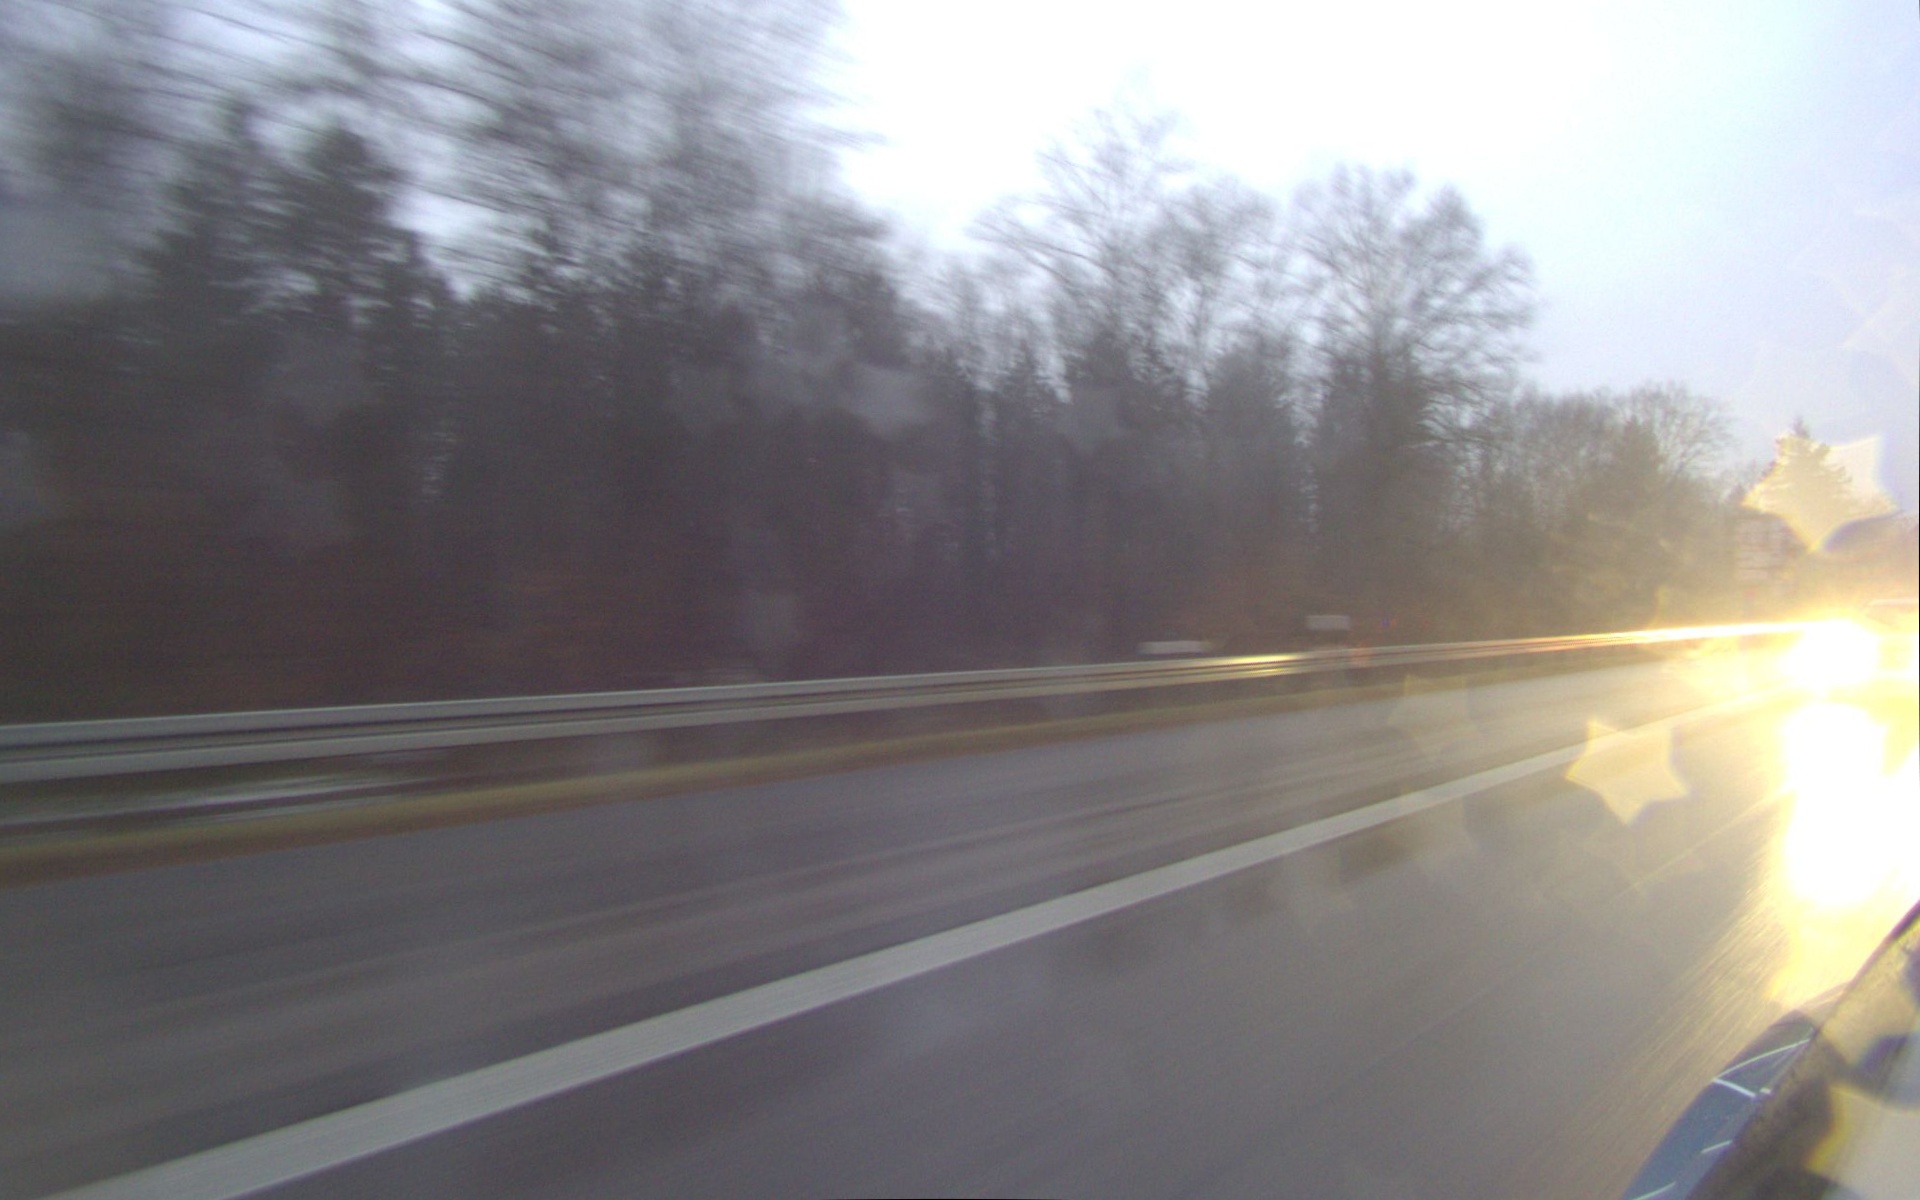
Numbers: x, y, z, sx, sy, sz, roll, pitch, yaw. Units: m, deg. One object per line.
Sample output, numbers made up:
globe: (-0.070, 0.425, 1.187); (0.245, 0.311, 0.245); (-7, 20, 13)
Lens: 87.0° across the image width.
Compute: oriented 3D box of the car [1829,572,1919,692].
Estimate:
car: (15.952, 0.470, 16.690); (3.872, 1.814, 1.927); (0, 0, -41)
